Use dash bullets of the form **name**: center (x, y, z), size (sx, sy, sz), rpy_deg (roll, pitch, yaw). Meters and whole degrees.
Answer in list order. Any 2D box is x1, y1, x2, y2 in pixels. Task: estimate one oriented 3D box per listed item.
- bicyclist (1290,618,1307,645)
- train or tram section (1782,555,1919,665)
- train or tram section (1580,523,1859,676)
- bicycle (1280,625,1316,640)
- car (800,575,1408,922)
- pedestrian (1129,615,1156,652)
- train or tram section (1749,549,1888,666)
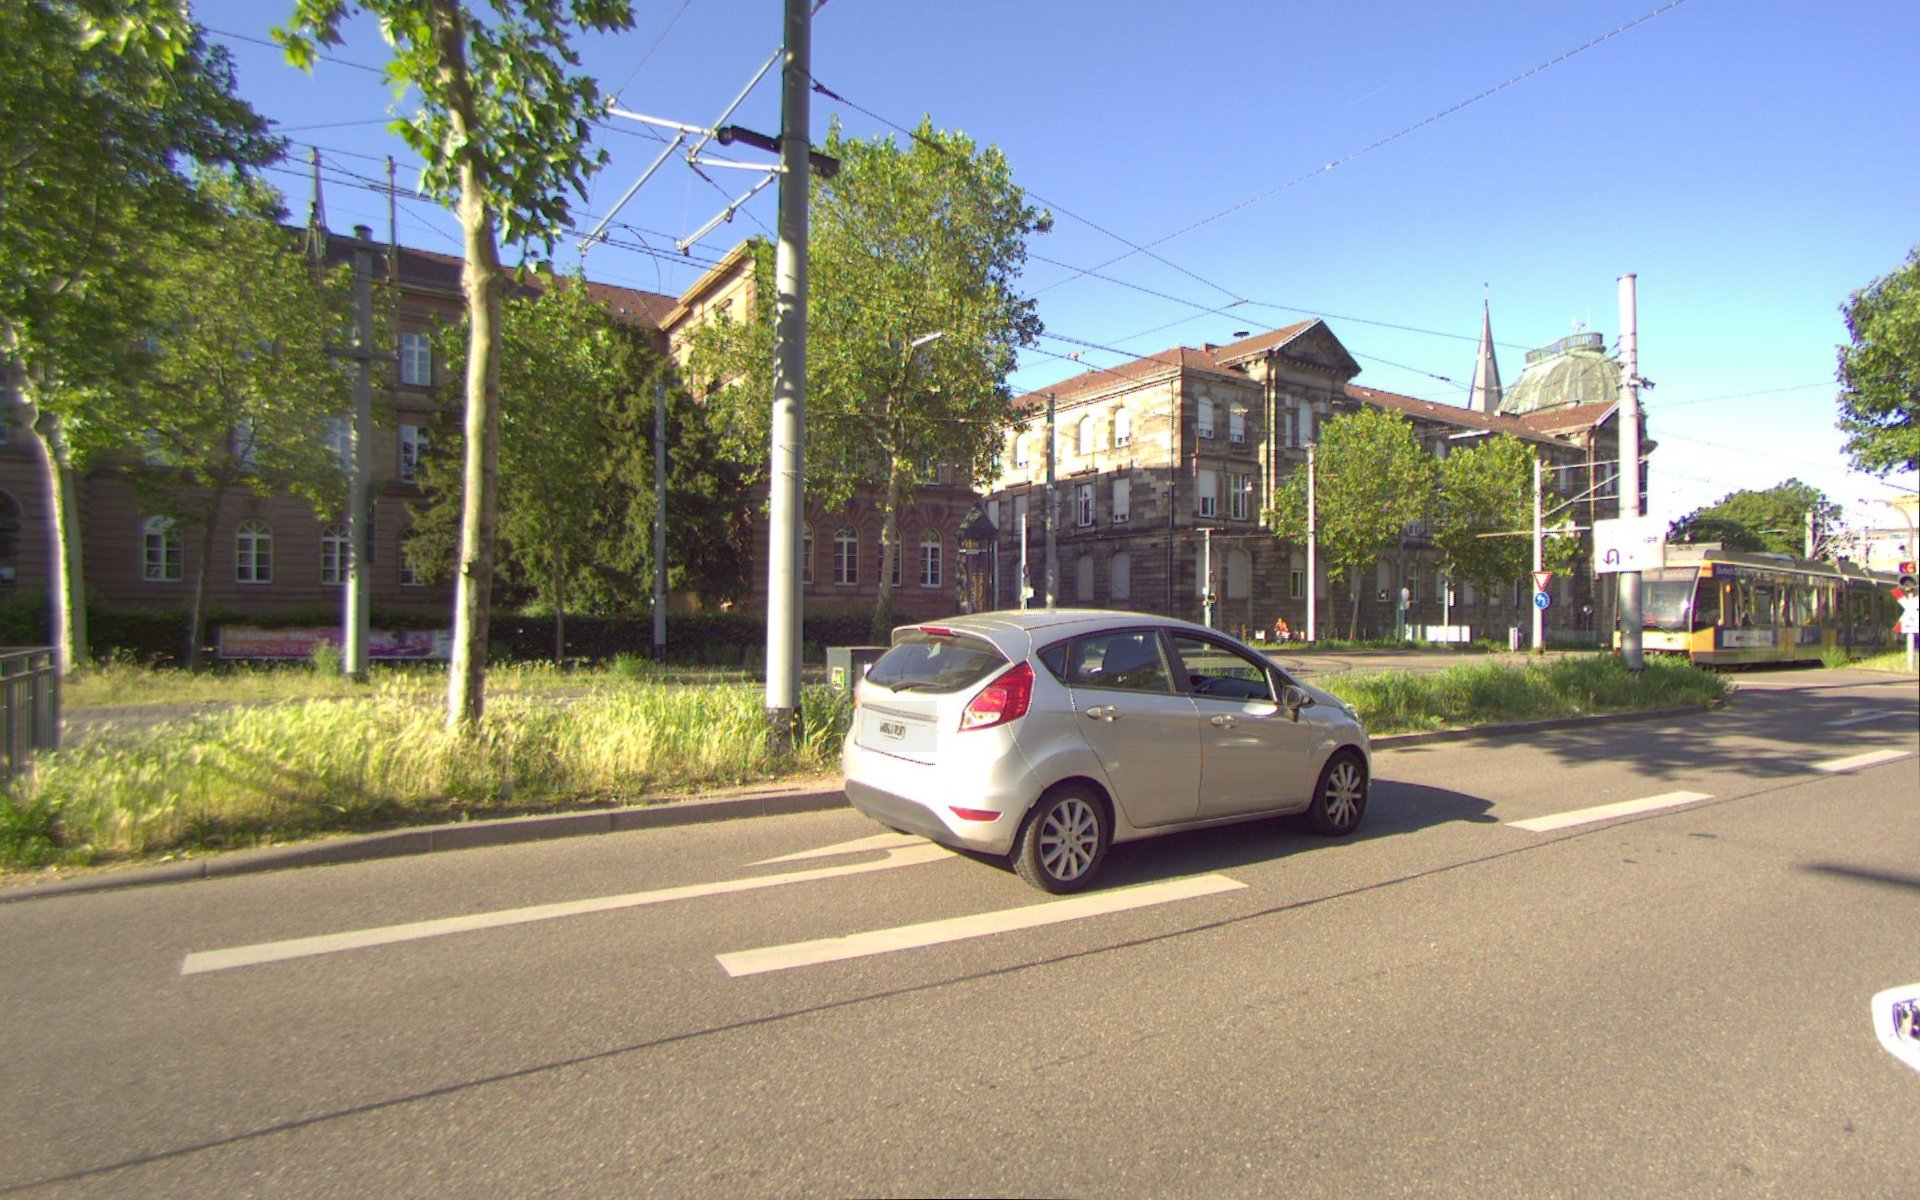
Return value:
- **bicyclist**: center (19.195, 1.774, 56.948), size (0.717, 1.481, 0.796), rpy_deg (2, 1, 29)
- **train or tram section**: center (36.737, 0.440, 40.526), size (10.700, 3.949, 2.931), rpy_deg (2, 0, -37)
- **train or tram section**: center (23.737, 0.117, 30.835), size (14.138, 3.863, 2.908), rpy_deg (2, 0, -37)
- **bicycle**: center (19.155, 1.837, 56.984), size (1.867, 0.732, 0.525), rpy_deg (2, 0, 29)
- **car**: center (1.073, 0.718, 6.490), size (3.827, 1.617, 1.650), rpy_deg (2, 0, -37)
- **pedestrian**: center (9.152, 1.678, 50.406), size (0.991, 1.824, 0.858), rpy_deg (1, 1, -32)
- **train or tram section**: center (30.926, 0.280, 36.187), size (3.829, 3.949, 2.934), rpy_deg (1, 1, -36)
